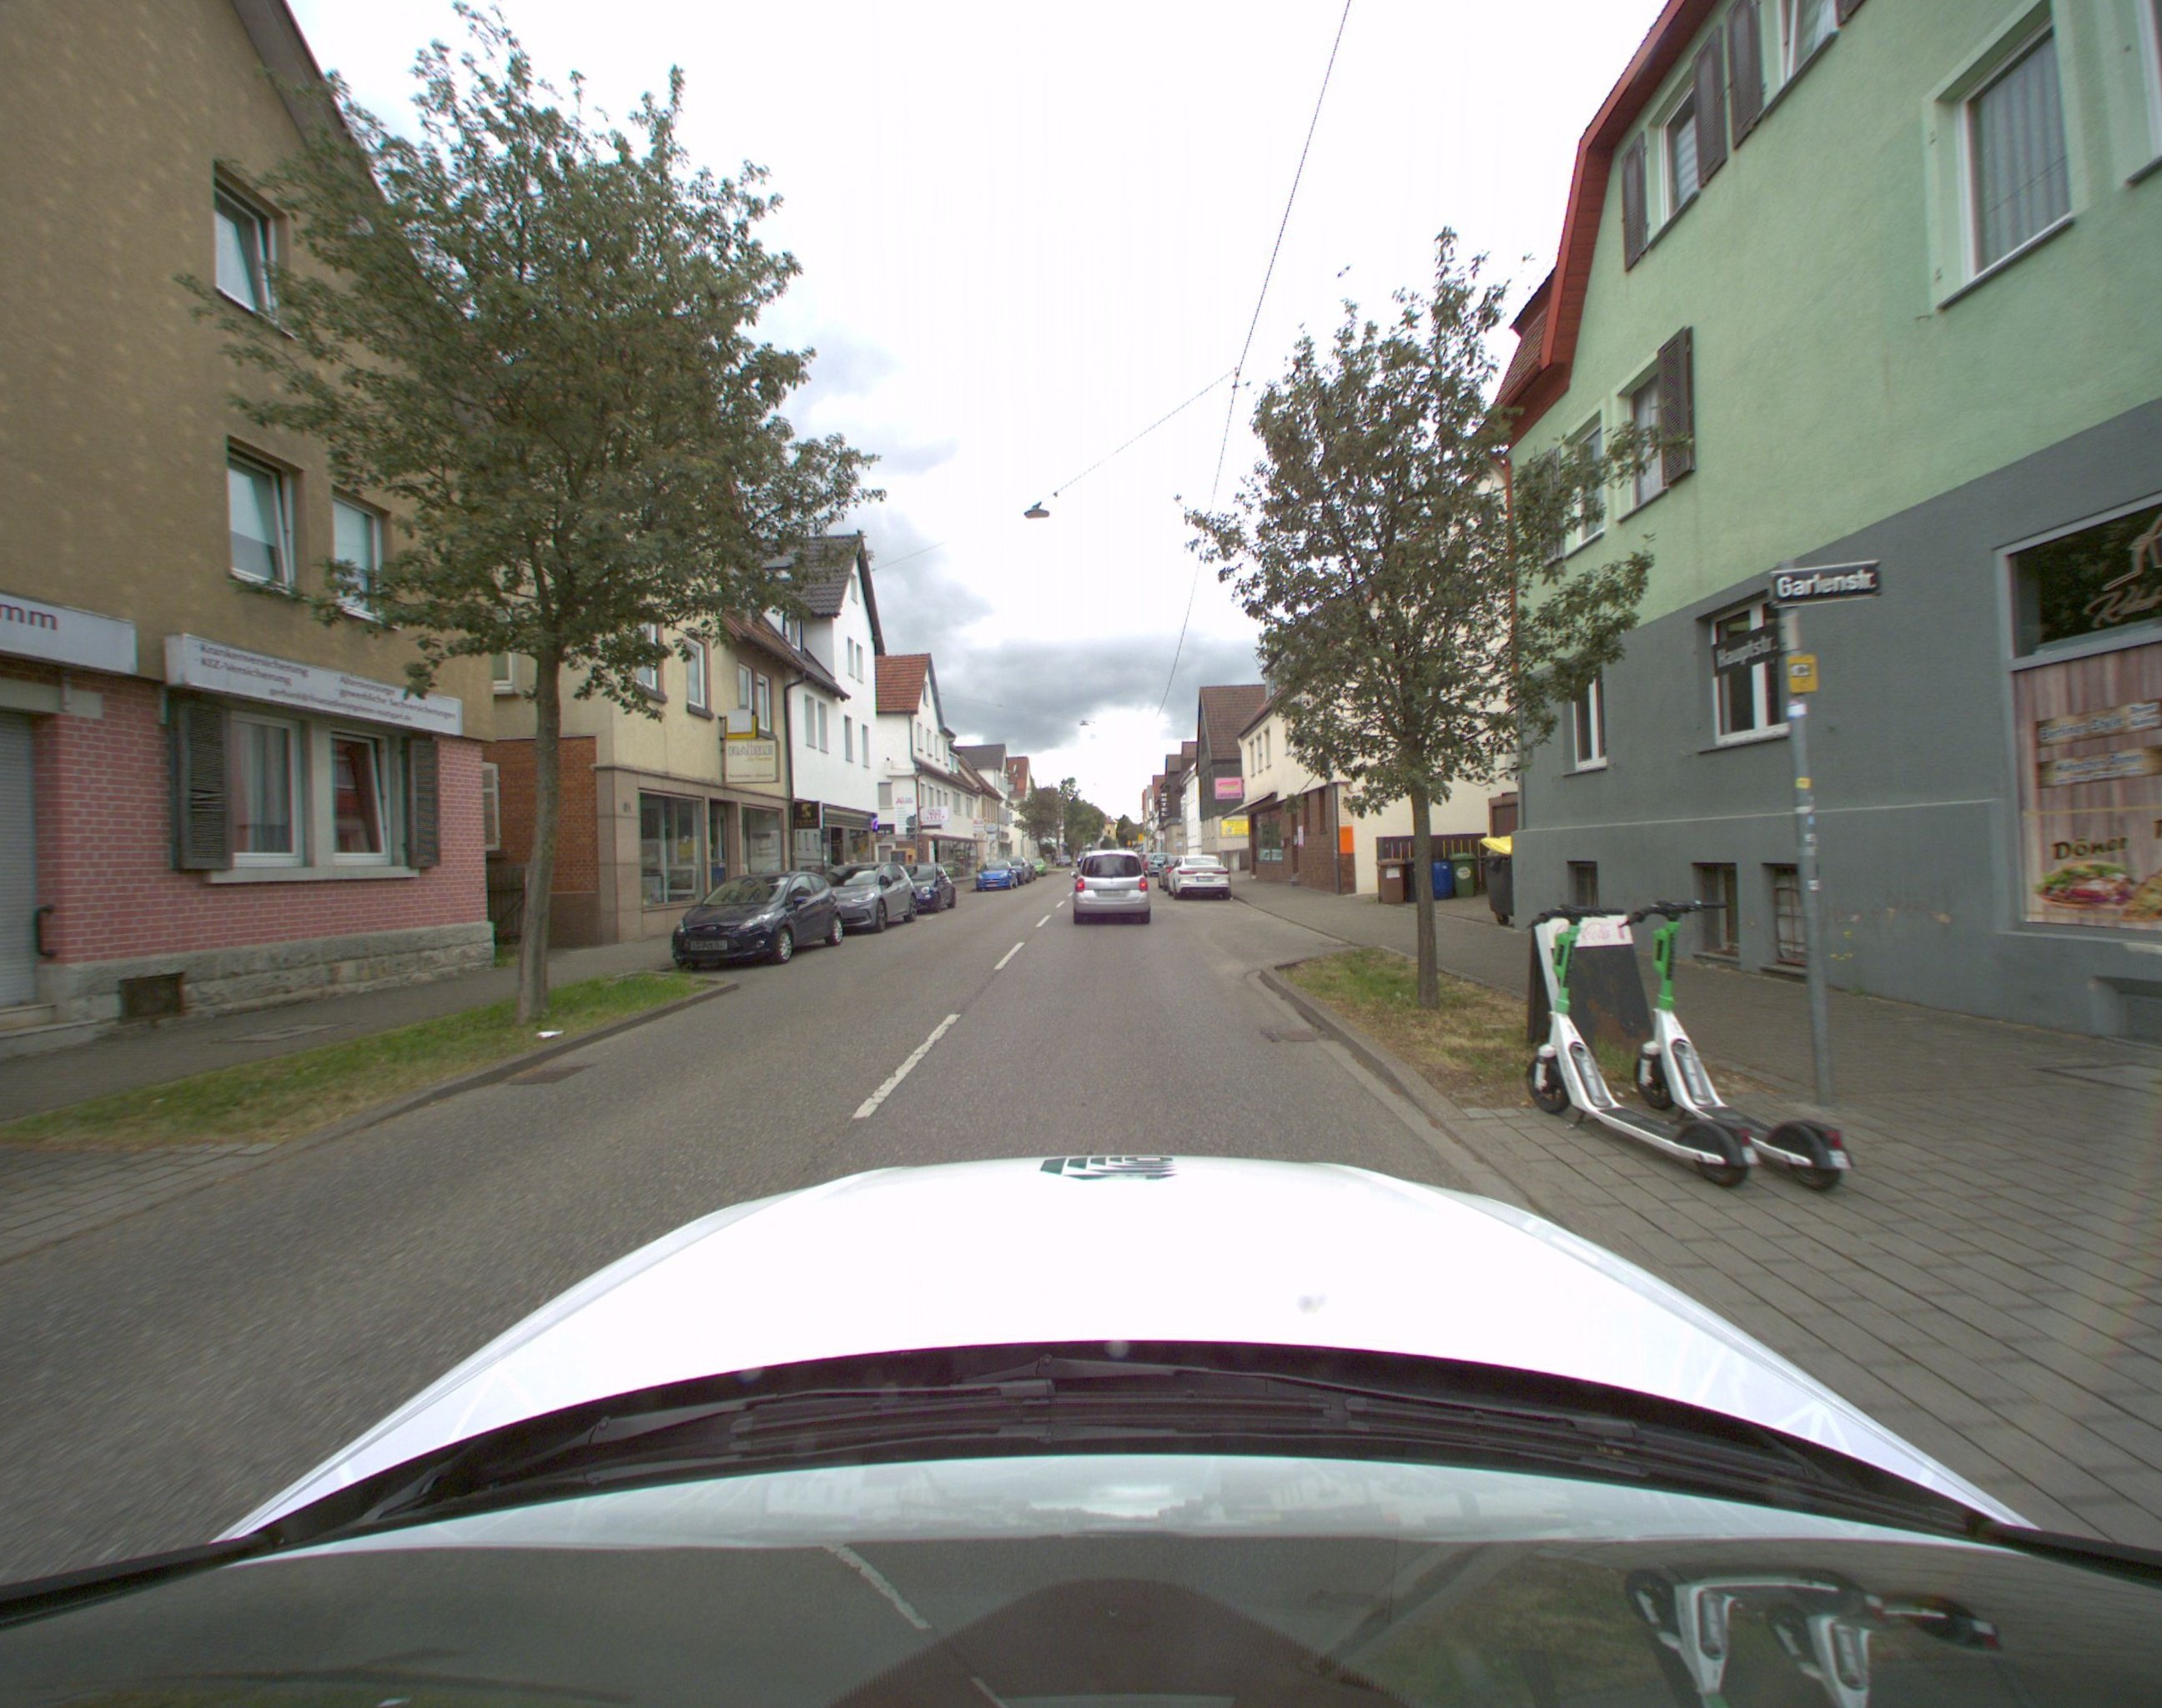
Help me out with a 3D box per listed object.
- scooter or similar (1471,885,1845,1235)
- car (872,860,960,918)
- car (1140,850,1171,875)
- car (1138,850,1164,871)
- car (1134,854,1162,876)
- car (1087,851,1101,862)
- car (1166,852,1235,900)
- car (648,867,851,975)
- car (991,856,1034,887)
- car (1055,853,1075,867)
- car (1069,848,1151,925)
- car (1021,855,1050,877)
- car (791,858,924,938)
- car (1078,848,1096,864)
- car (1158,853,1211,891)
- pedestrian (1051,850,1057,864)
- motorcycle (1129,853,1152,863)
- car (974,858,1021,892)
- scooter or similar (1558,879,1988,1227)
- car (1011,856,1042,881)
[{"bbox_3d":[2.629,0.809,4.028,0.500,1.235,1.943,-1,0,2],"label":"scooter or similar"},{"bbox_3d":[-4.890,0.986,24.631,1.675,1.493,3.594,-3,0,3],"label":"car"},{"bbox_3d":[4.708,0.543,52.023,1.823,1.497,3.996,-1,0,3],"label":"car"},{"bbox_3d":[5.361,0.469,62.856,1.868,1.539,4.516,-1,0,3],"label":"car"},{"bbox_3d":[4.652,0.734,56.895,1.748,1.445,4.458,-1,0,3],"label":"car"},{"bbox_3d":[1.919,0.341,120.607,1.788,1.578,4.194,-4,0,2],"label":"car"},{"bbox_3d":[3.866,0.678,26.937,1.823,1.445,4.335,-1,0,3],"label":"car"},{"bbox_3d":[-5.427,1.019,13.925,1.676,1.424,3.932,-3,0,1],"label":"car"},{"bbox_3d":[-3.866,0.955,46.607,1.796,1.599,4.308,-3,0,3],"label":"car"},{"bbox_3d":[-1.926,0.702,97.596,1.940,1.467,4.519,-4,0,3],"label":"car"},{"bbox_3d":[0.708,0.667,18.796,1.675,1.566,3.996,-1,0,3],"label":"car"},{"bbox_3d":[-3.448,0.892,62.292,1.675,1.447,4.023,-3,0,3],"label":"car"},{"bbox_3d":[-5.090,0.932,19.118,1.703,1.566,4.116,-3,0,3],"label":"car"},{"bbox_3d":[0.770,0.241,96.727,1.893,1.737,4.369,-3,0,3],"label":"car"},{"bbox_3d":[4.131,0.683,33.053,1.823,1.445,4.113,-1,0,3],"label":"car"},{"bbox_3d":[-3.645,0.431,109.919,0.760,1.791,0.890,-1,0,2],"label":"pedestrian"},{"bbox_3d":[7.025,0.488,95.862,2.744,1.183,0.694,-1,0,-28],"label":"motorcycle"},{"bbox_3d":[-4.129,1.003,40.785,1.675,1.499,3.778,-3,0,3],"label":"car"},{"bbox_3d":[3.161,0.774,4.023,0.500,1.235,1.943,-1,0,2],"label":"scooter or similar"},{"bbox_3d":[-3.464,0.919,52.485,1.575,1.508,3.815,-1,0,3],"label":"car"}]
